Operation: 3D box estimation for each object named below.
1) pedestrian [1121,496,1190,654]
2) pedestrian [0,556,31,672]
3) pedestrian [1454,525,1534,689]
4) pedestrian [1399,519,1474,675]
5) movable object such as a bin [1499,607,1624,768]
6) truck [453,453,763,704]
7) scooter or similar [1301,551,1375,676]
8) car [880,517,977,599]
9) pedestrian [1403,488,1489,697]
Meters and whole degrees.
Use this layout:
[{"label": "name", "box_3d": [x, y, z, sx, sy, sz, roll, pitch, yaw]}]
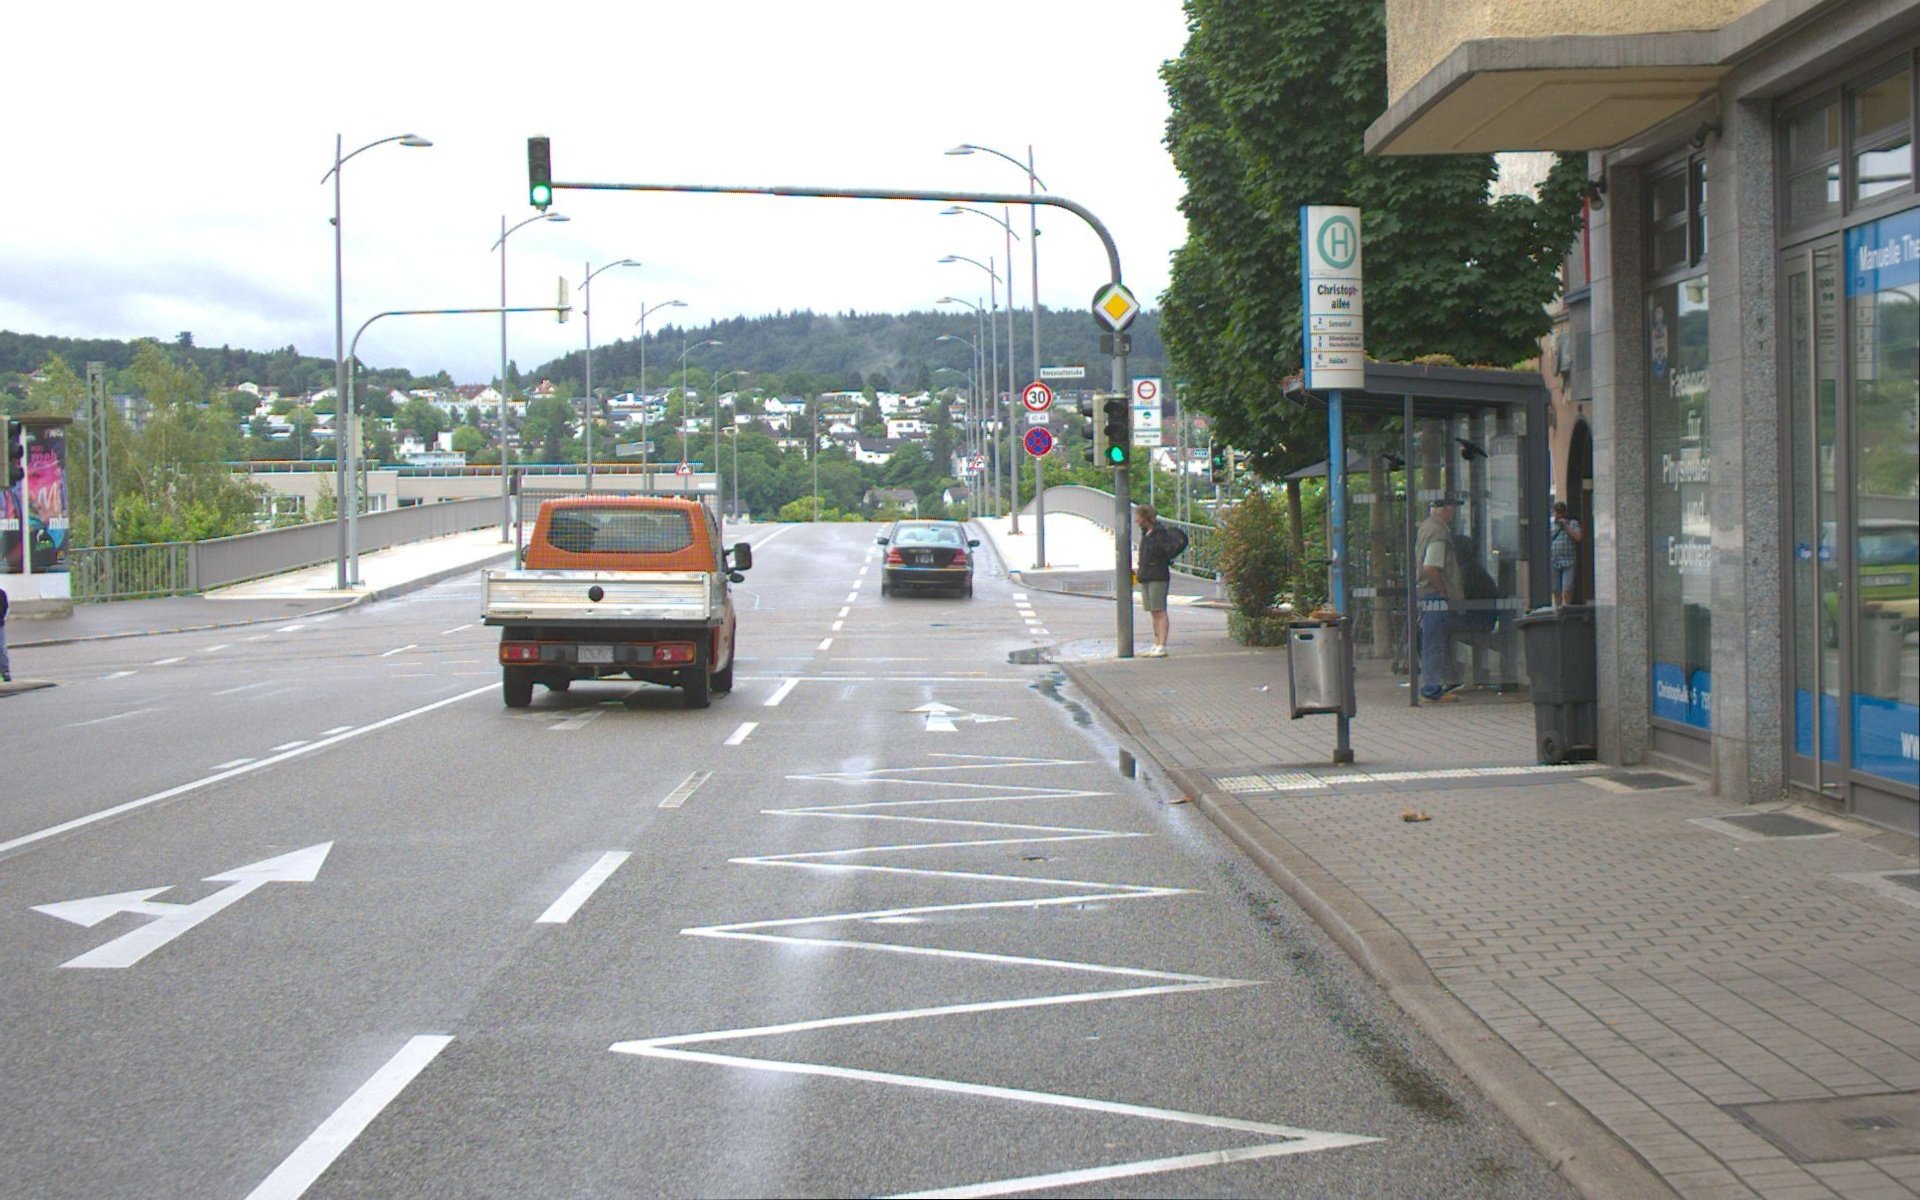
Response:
[{"label": "pedestrian", "box_3d": [2.311, -0.295, 40.680, 0.733, 1.835, 0.631, -1, 1, -2]}, {"label": "pedestrian", "box_3d": [-11.661, 0.168, 41.725, 0.544, 1.383, 0.649, -1, 1, 1]}, {"label": "pedestrian", "box_3d": [4.604, 0.053, 29.669, 0.563, 1.392, 0.514, -1, 1, -3]}, {"label": "pedestrian", "box_3d": [4.192, -0.028, 30.247, 0.534, 1.345, 0.596, -1, 1, -2]}, {"label": "movable object such as a bin", "box_3d": [3.588, 0.513, 20.535, 0.600, 0.923, 0.704, -1, 1, 0]}, {"label": "truck", "box_3d": [-3.200, -0.222, 32.455, 2.400, 2.122, 5.315, -1, 1, -1]}, {"label": "scooter or similar", "box_3d": [3.652, 0.116, 33.288, 0.511, 1.168, 1.549, -1, 1, 0]}, {"label": "car", "box_3d": [-0.586, -0.794, 64.838, 1.754, 1.474, 4.000, -1, 1, 0]}, {"label": "pedestrian", "box_3d": [4.014, -0.064, 28.407, 0.619, 1.693, 0.656, -1, 1, 4]}]
